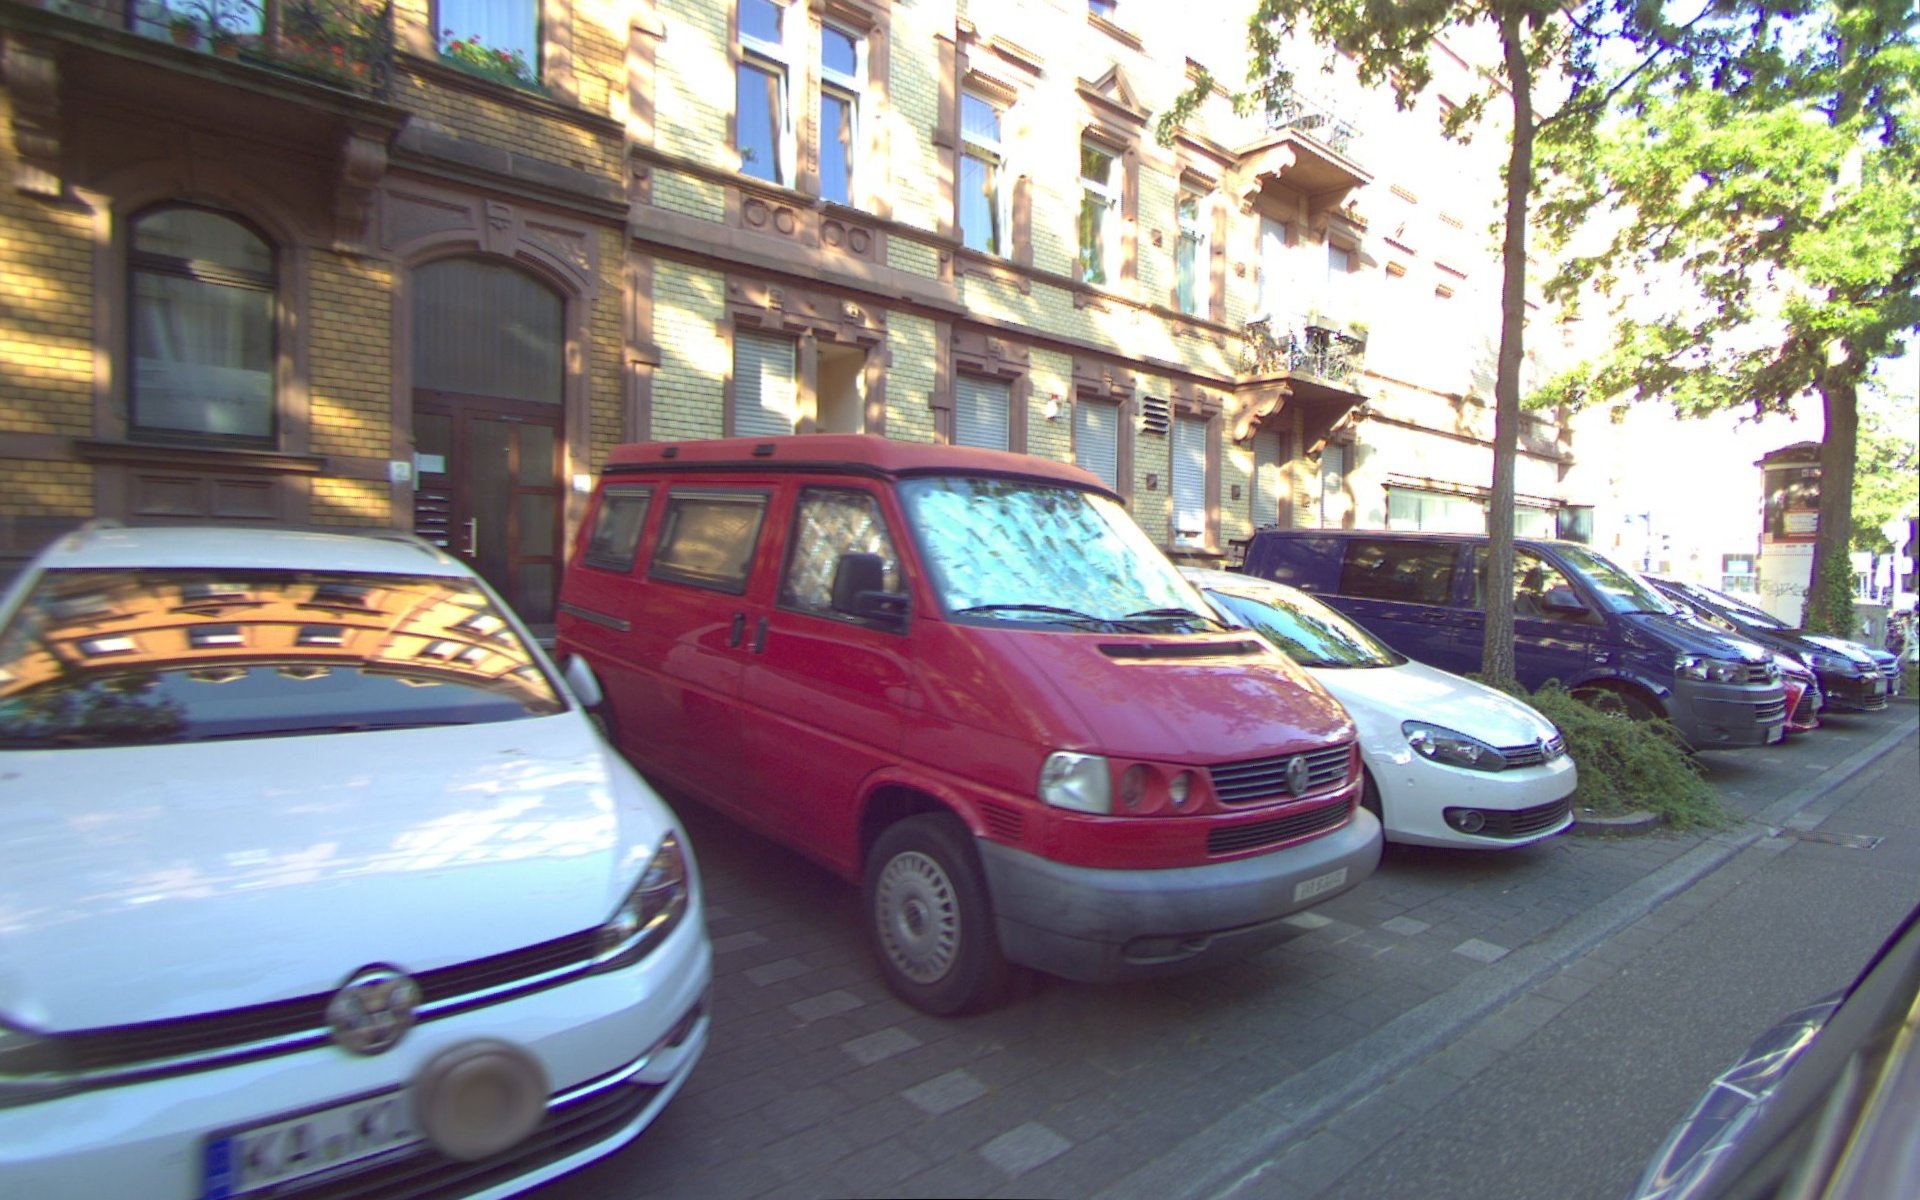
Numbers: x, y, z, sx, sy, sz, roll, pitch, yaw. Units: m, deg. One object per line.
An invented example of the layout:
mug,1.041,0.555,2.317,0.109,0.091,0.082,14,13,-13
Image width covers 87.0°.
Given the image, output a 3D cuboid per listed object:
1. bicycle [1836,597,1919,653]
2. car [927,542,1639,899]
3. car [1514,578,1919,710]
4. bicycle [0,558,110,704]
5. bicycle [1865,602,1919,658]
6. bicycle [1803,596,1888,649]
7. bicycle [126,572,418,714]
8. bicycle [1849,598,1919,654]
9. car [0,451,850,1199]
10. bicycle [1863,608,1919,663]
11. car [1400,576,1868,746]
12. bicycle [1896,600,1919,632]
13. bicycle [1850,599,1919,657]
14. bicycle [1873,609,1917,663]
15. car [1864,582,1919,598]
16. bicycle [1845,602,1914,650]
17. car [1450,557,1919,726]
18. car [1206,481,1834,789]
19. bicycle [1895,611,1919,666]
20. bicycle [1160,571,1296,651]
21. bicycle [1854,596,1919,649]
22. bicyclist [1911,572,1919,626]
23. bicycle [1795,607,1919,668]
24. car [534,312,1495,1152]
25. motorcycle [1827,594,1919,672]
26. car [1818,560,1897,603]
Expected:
bicycle,20.111,0.540,21.751,1.906,1.106,0.424,3,3,11
car,1.782,0.442,6.646,1.846,1.528,4.063,-1,4,-40
car,10.931,0.480,14.599,1.817,1.430,4.800,-1,3,-37
bicycle,-6.875,0.206,6.755,1.835,0.974,0.405,0,4,-41
bicycle,19.421,0.629,20.224,1.907,1.064,0.501,3,3,13
bicycle,19.858,0.493,22.713,1.447,1.106,0.575,1,3,-9
bicycle,-5.273,0.294,7.850,1.835,0.974,0.405,0,4,-41
bicycle,20.023,0.560,21.324,1.906,1.106,0.424,3,3,11
car,-2.438,0.409,3.630,1.845,1.532,4.689,0,4,-38
bicycle,18.803,0.726,19.537,1.919,0.999,0.492,4,4,28
car,7.406,0.515,11.485,1.694,1.553,4.115,0,2,-39
bicycle,28.606,0.462,29.456,1.856,0.924,0.630,-1,-1,21
bicycle,19.510,0.582,20.702,1.907,1.106,0.423,3,3,13
bicycle,17.590,0.658,19.036,1.498,0.938,0.354,-1,4,-39
car,98.842,-1.114,107.156,4.271,1.604,1.978,1,1,32
bicycle,21.019,0.585,23.147,0.990,1.039,0.731,1,1,28
car,9.102,0.346,13.096,1.814,1.699,4.709,0,3,-31
car,5.085,0.186,9.939,1.957,2.242,5.032,0,2,-39
bicycle,17.747,0.698,18.651,1.495,0.938,0.355,0,4,-33
bicycle,4.356,0.149,16.319,2.545,1.185,0.672,-1,4,-38
bicycle,20.615,0.502,22.359,1.447,1.106,0.426,1,3,-10
bicyclist,28.577,-0.034,29.475,1.068,1.573,0.630,-1,-1,21
bicycle,16.423,0.668,18.333,0.348,0.938,1.935,-1,5,-41
car,-0.313,0.188,4.853,1.846,2.058,4.685,0,4,-41
motorcycle,16.318,0.579,17.479,0.674,1.249,1.903,0,4,-40
car,70.700,-1.505,79.921,3.300,3.218,7.993,1,2,32
